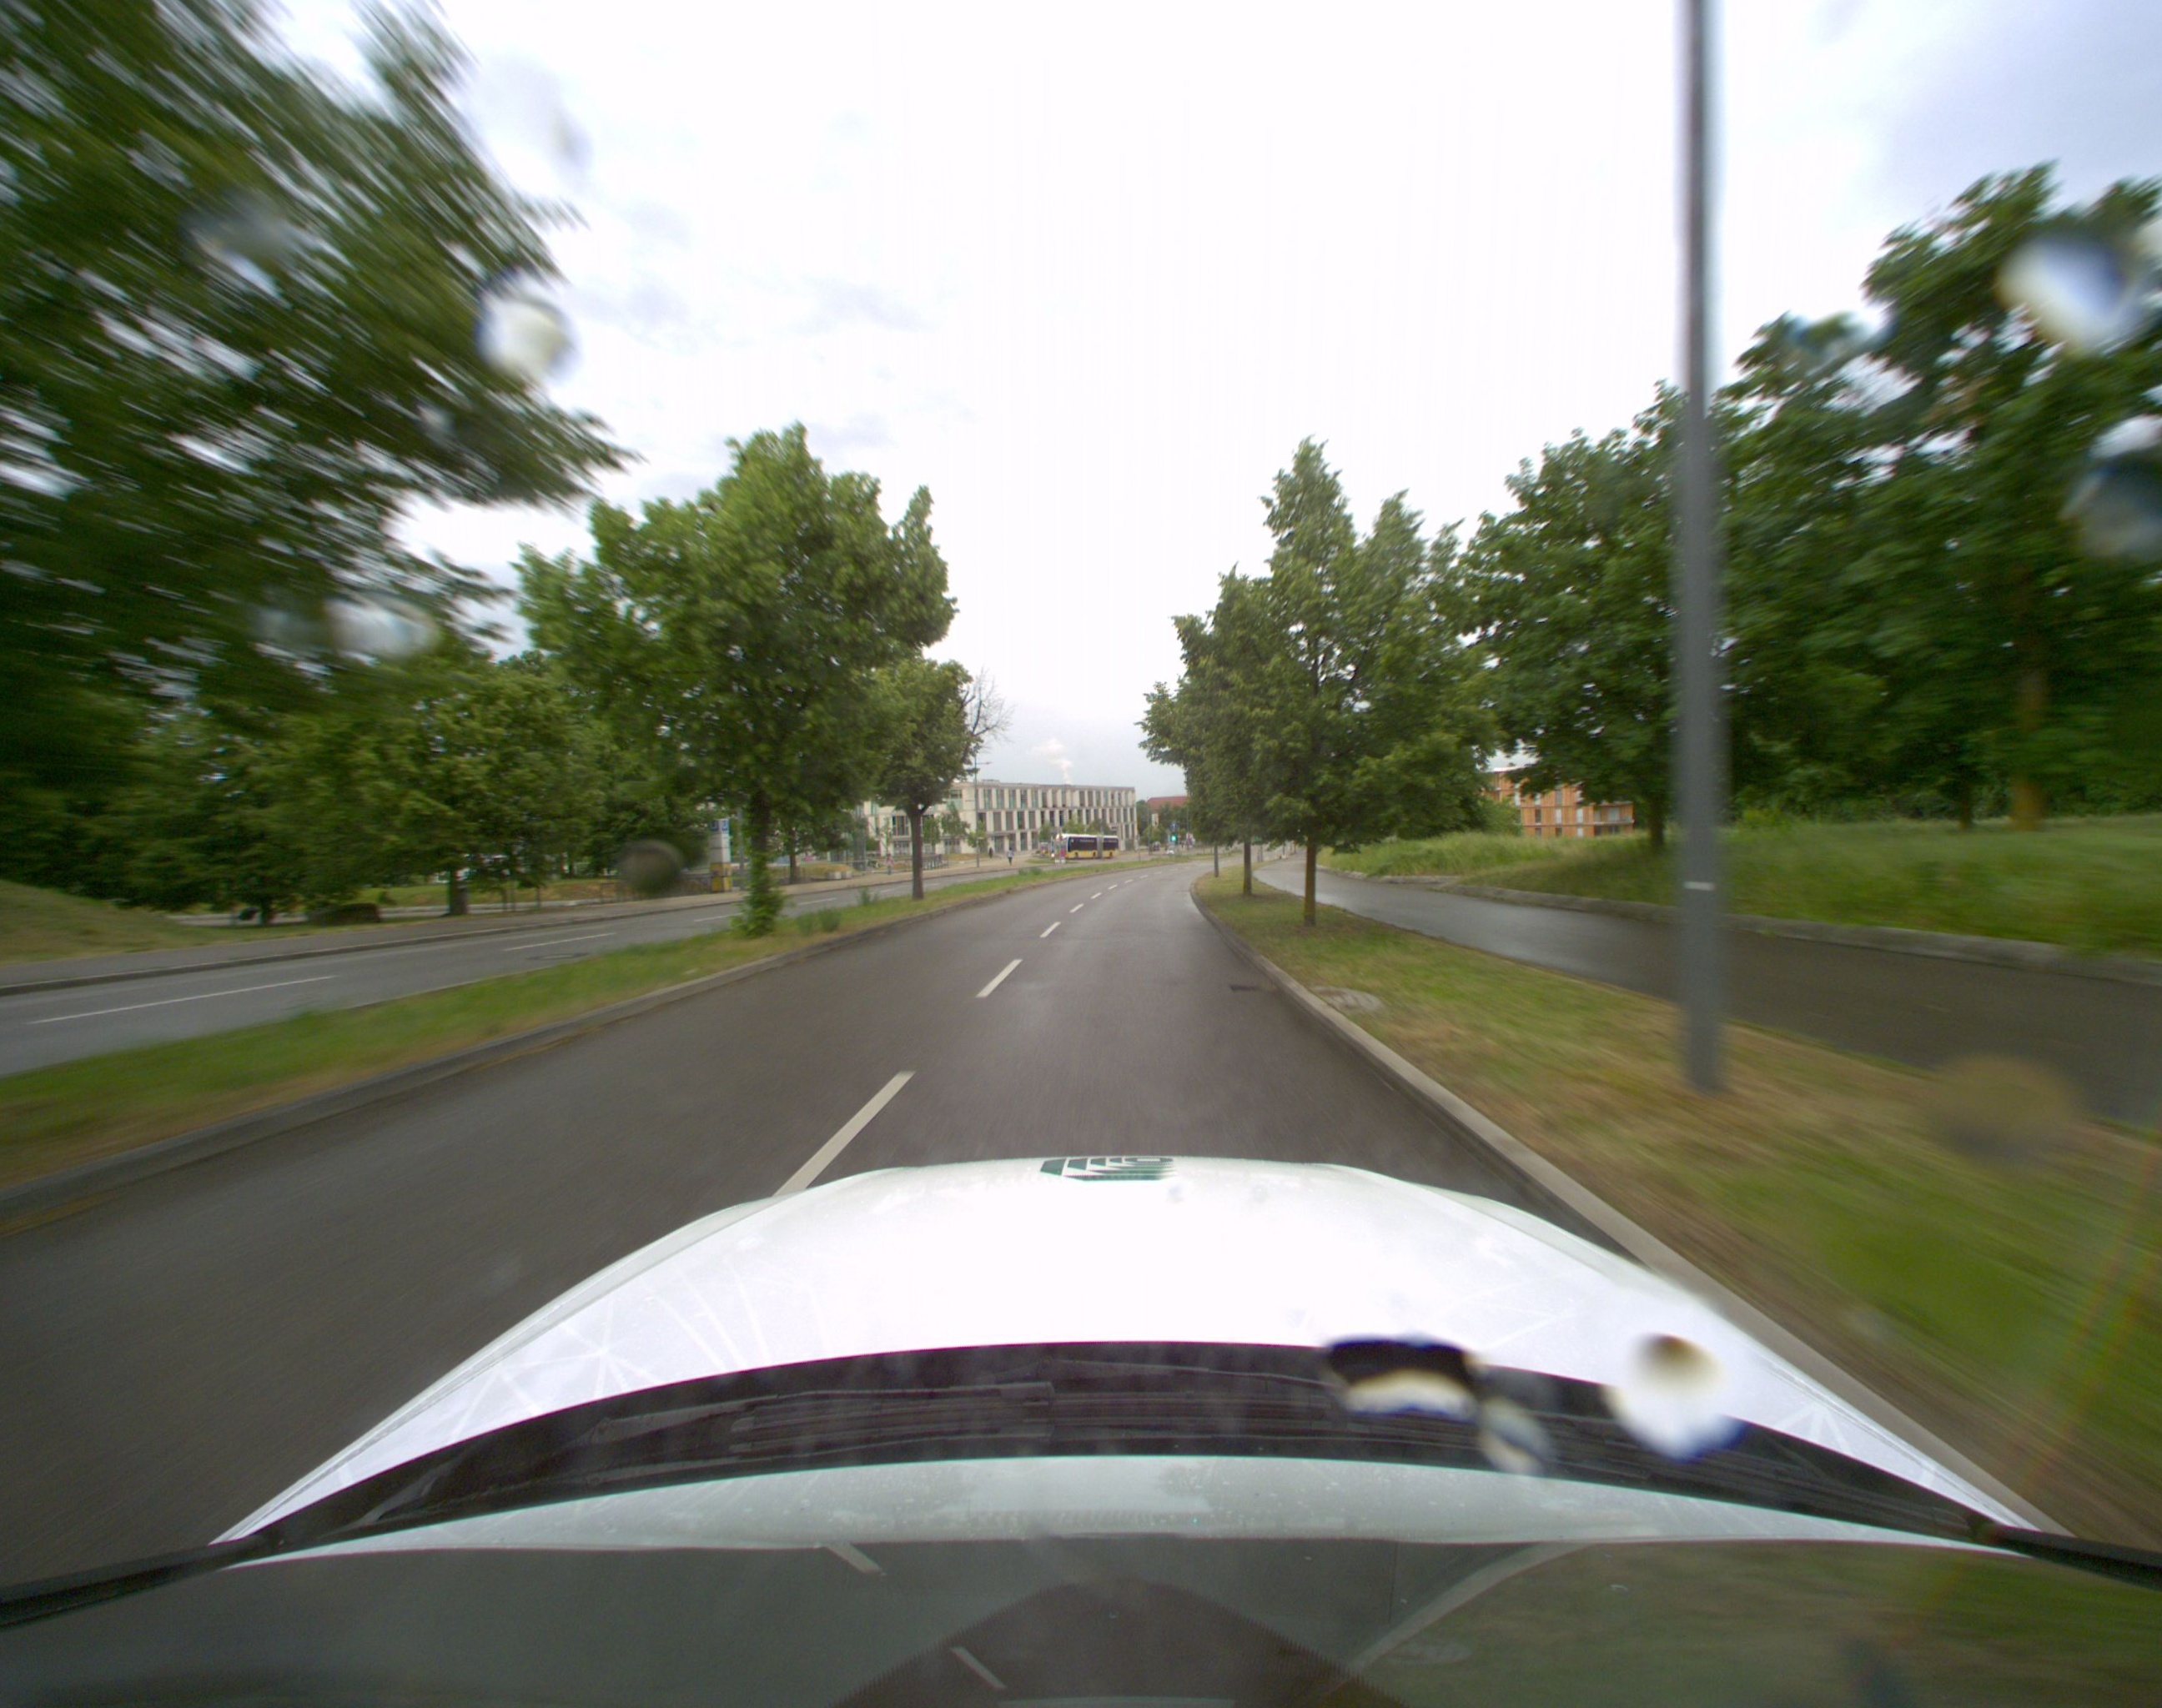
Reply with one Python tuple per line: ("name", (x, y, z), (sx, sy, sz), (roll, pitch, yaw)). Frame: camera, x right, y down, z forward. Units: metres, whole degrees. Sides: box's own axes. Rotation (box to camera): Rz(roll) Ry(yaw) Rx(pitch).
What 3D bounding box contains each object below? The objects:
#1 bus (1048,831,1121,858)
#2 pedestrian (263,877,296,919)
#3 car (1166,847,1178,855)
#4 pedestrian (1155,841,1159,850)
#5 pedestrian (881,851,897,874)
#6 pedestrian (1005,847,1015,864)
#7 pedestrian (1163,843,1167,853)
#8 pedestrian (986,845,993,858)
("bus", (0.796, -1.191, 113.504), (2.759, 3.357, 18.329), (-2, -1, 24))
("pedestrian", (-33.765, 1.848, 34.319), (0.641, 1.728, 0.757), (-2, -1, 9))
("car", (17.129, -0.554, 153.106), (1.465, 1.494, 2.544), (-2, -1, 22))
("pedestrian", (16.869, -1.816, 179.667), (0.746, 1.853, 0.837), (-1, -1, -1))
("pedestrian", (-14.213, 0.633, 60.345), (0.808, 1.621, 0.938), (-2, -1, 10))
("pedestrian", (-6.771, 0.167, 77.540), (0.833, 1.573, 0.717), (-1, -1, -8))
("pedestrian", (17.487, -1.274, 168.826), (0.746, 1.947, 0.837), (-1, -1, -1))
("pedestrian", (-11.366, -0.332, 101.169), (0.680, 1.524, 0.719), (-1, -1, -1))
